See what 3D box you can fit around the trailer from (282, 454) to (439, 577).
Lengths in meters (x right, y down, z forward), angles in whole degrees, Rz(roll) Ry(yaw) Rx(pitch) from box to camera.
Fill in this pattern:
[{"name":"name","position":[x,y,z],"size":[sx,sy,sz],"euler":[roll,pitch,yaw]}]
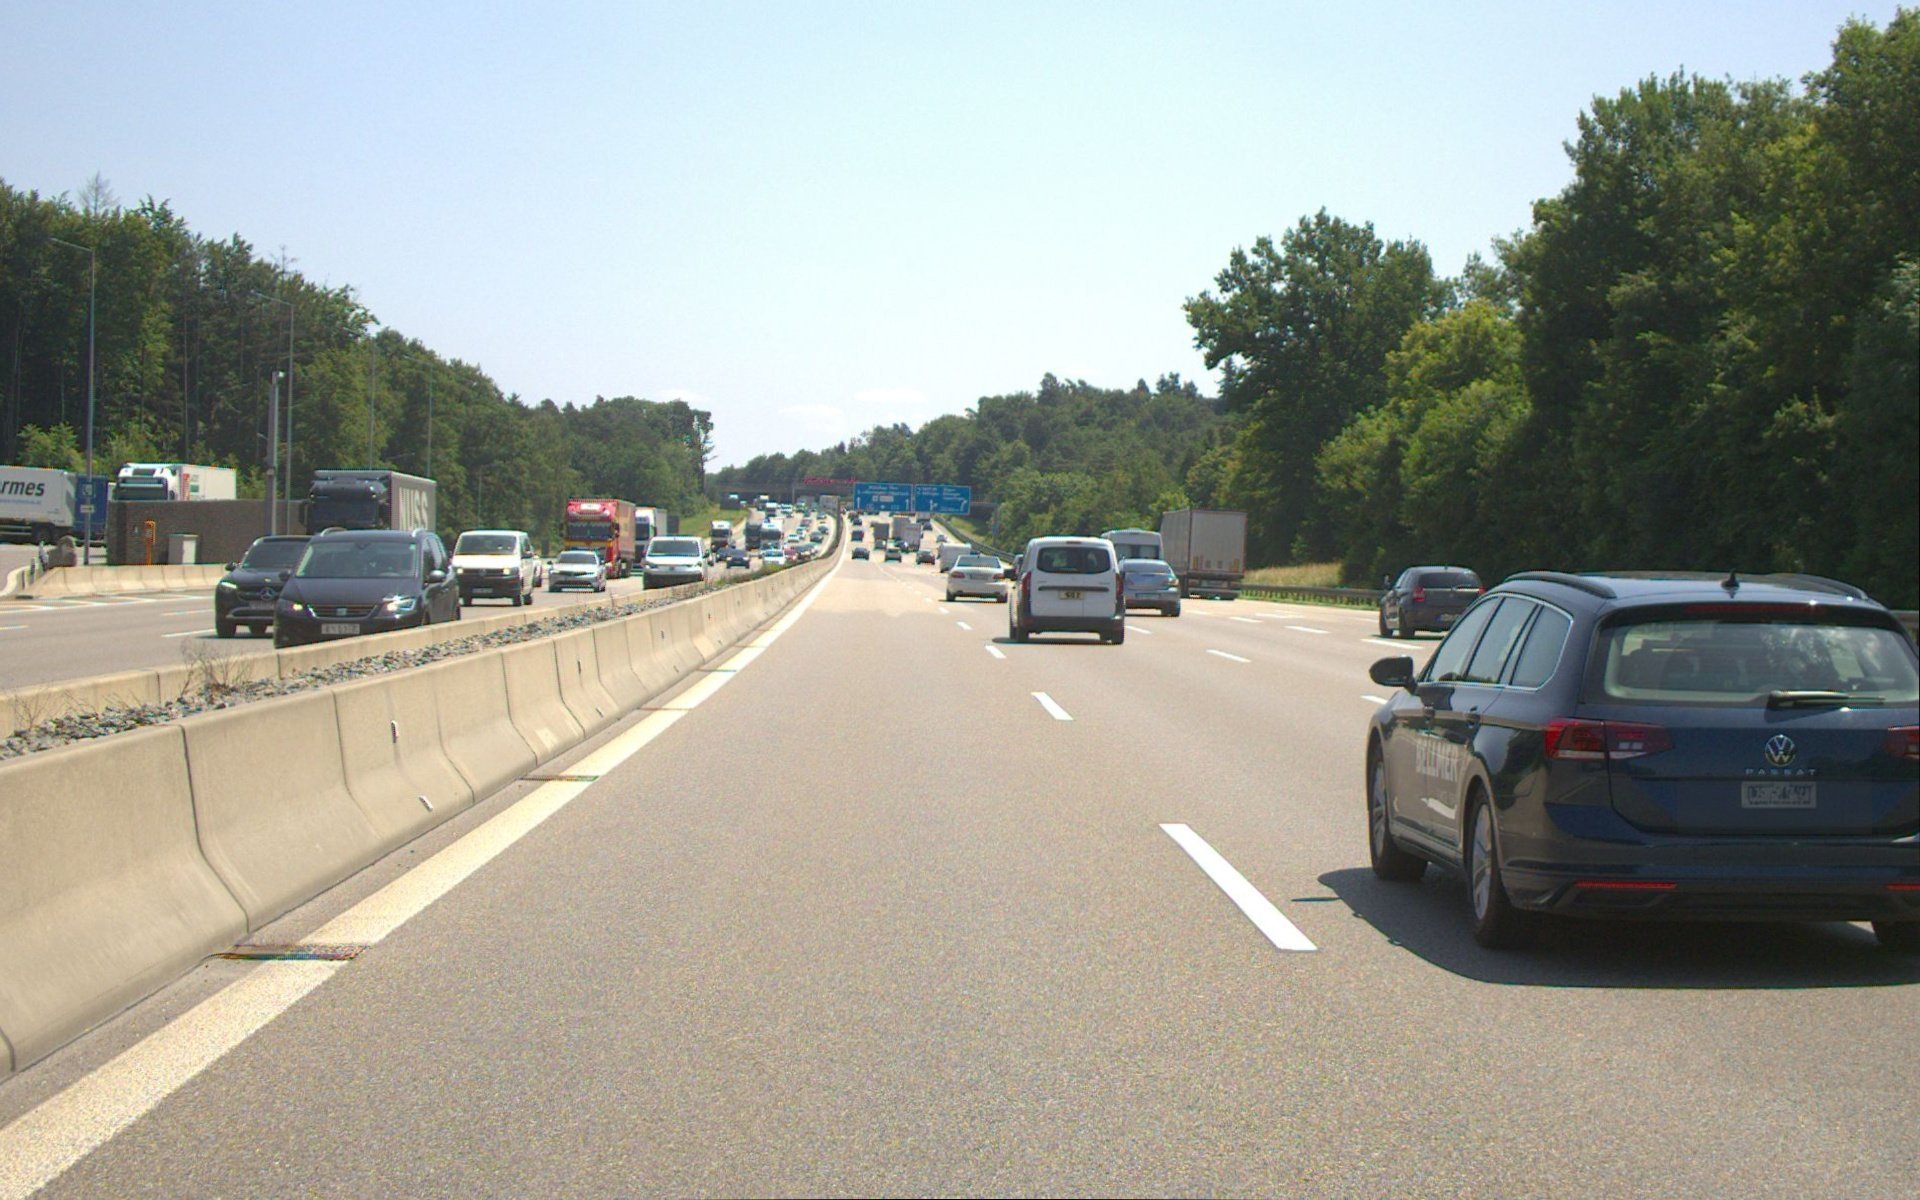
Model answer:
[{"name":"trailer","position":[-20.661,-2.862,119.502],"size":[3.342,3.987,14.280],"euler":[1,1,-2]}]

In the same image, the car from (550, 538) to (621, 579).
[{"name":"car","position":[-13.090,-1.452,120.430],"size":[1.993,1.372,5.011],"euler":[1,1,-1]}]

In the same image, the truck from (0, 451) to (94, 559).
[{"name":"truck","position":[-51.852,-5.116,182.187],"size":[3.226,5.593,11.508],"euler":[2,1,43]}]

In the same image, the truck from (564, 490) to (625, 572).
[{"name":"truck","position":[-18.617,-3.490,175.190],"size":[2.527,4.035,6.473],"euler":[1,1,-2]}]

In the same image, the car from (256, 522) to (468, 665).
[{"name":"car","position":[-7.404,-0.115,42.991],"size":[1.849,1.672,5.045],"euler":[1,1,-1]}]

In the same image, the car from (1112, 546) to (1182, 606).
[{"name":"car","position":[4.769,-0.620,88.001],"size":[1.503,1.495,3.650],"euler":[1,1,-1]}]

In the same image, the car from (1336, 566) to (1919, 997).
[{"name":"car","position":[2.756,0.604,14.341],"size":[1.729,1.442,4.962],"euler":[1,1,-1]}]

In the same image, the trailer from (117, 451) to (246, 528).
[{"name":"trailer","position":[-35.302,-4.955,156.533],"size":[2.972,3.113,14.611],"euler":[2,1,-2]}]

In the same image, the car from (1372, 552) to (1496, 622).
[{"name":"car","position":[9.241,-0.272,67.323],"size":[1.670,1.269,4.290],"euler":[2,1,-2]}]

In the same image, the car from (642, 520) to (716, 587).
[{"name":"car","position":[-8.876,-1.483,108.987],"size":[2.077,2.037,5.712],"euler":[1,1,-2]}]

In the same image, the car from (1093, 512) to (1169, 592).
[{"name":"car","position":[6.026,-1.738,121.852],"size":[2.143,2.643,5.710],"euler":[3,2,-2]}]

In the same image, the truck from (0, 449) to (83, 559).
[{"name":"truck","position":[-50.251,-5.042,178.875],"size":[3.226,5.593,8.467],"euler":[2,1,43]}]

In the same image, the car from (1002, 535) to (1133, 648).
[{"name":"car","position":[1.808,-0.178,59.144],"size":[1.859,1.819,4.613],"euler":[1,1,-3]}]

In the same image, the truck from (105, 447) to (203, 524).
[{"name":"truck","position":[-35.017,-4.947,149.597],"size":[2.926,3.113,6.203],"euler":[2,1,-2]}]

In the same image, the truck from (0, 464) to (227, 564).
[{"name":"truck","position":[-52.272,-5.149,207.372],"size":[3.449,5.593,16.667],"euler":[2,1,43]}]

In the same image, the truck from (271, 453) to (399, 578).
[{"name":"truck","position":[-20.474,-2.744,112.897],"size":[3.287,3.917,5.540],"euler":[1,1,-2]}]

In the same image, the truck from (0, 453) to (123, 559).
[{"name":"truck","position":[-51.604,-5.173,187.704],"size":[3.226,5.593,11.508],"euler":[2,1,43]}]

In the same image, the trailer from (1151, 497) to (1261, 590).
[{"name":"trailer","position":[11.283,-2.724,159.097],"size":[3.287,3.917,13.893],"euler":[3,2,-2]}]

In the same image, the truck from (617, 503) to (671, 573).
[{"name":"truck","position":[-18.592,-3.650,202.576],"size":[2.734,4.017,6.782],"euler":[1,1,-2]}]

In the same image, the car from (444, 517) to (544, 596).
[{"name":"car","position":[-12.270,-1.150,90.852],"size":[1.993,2.007,5.130],"euler":[1,1,-1]}]

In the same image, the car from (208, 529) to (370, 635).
[{"name":"car","position":[-11.244,-0.324,57.932],"size":[1.827,1.693,5.004],"euler":[1,1,-1]}]

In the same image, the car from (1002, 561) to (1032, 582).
[{"name":"car","position":[3.907,-1.952,234.339],"size":[1.835,1.333,3.643],"euler":[1,1,-2]}]

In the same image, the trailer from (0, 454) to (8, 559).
[{"name":"trailer","position":[-52.106,-4.611,161.593],"size":[3.221,5.055,14.529],"euler":[2,1,43]}]

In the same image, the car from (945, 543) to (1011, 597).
[{"name":"car","position":[0.528,-0.934,106.633],"size":[1.843,1.623,4.554],"euler":[1,1,-2]}]
